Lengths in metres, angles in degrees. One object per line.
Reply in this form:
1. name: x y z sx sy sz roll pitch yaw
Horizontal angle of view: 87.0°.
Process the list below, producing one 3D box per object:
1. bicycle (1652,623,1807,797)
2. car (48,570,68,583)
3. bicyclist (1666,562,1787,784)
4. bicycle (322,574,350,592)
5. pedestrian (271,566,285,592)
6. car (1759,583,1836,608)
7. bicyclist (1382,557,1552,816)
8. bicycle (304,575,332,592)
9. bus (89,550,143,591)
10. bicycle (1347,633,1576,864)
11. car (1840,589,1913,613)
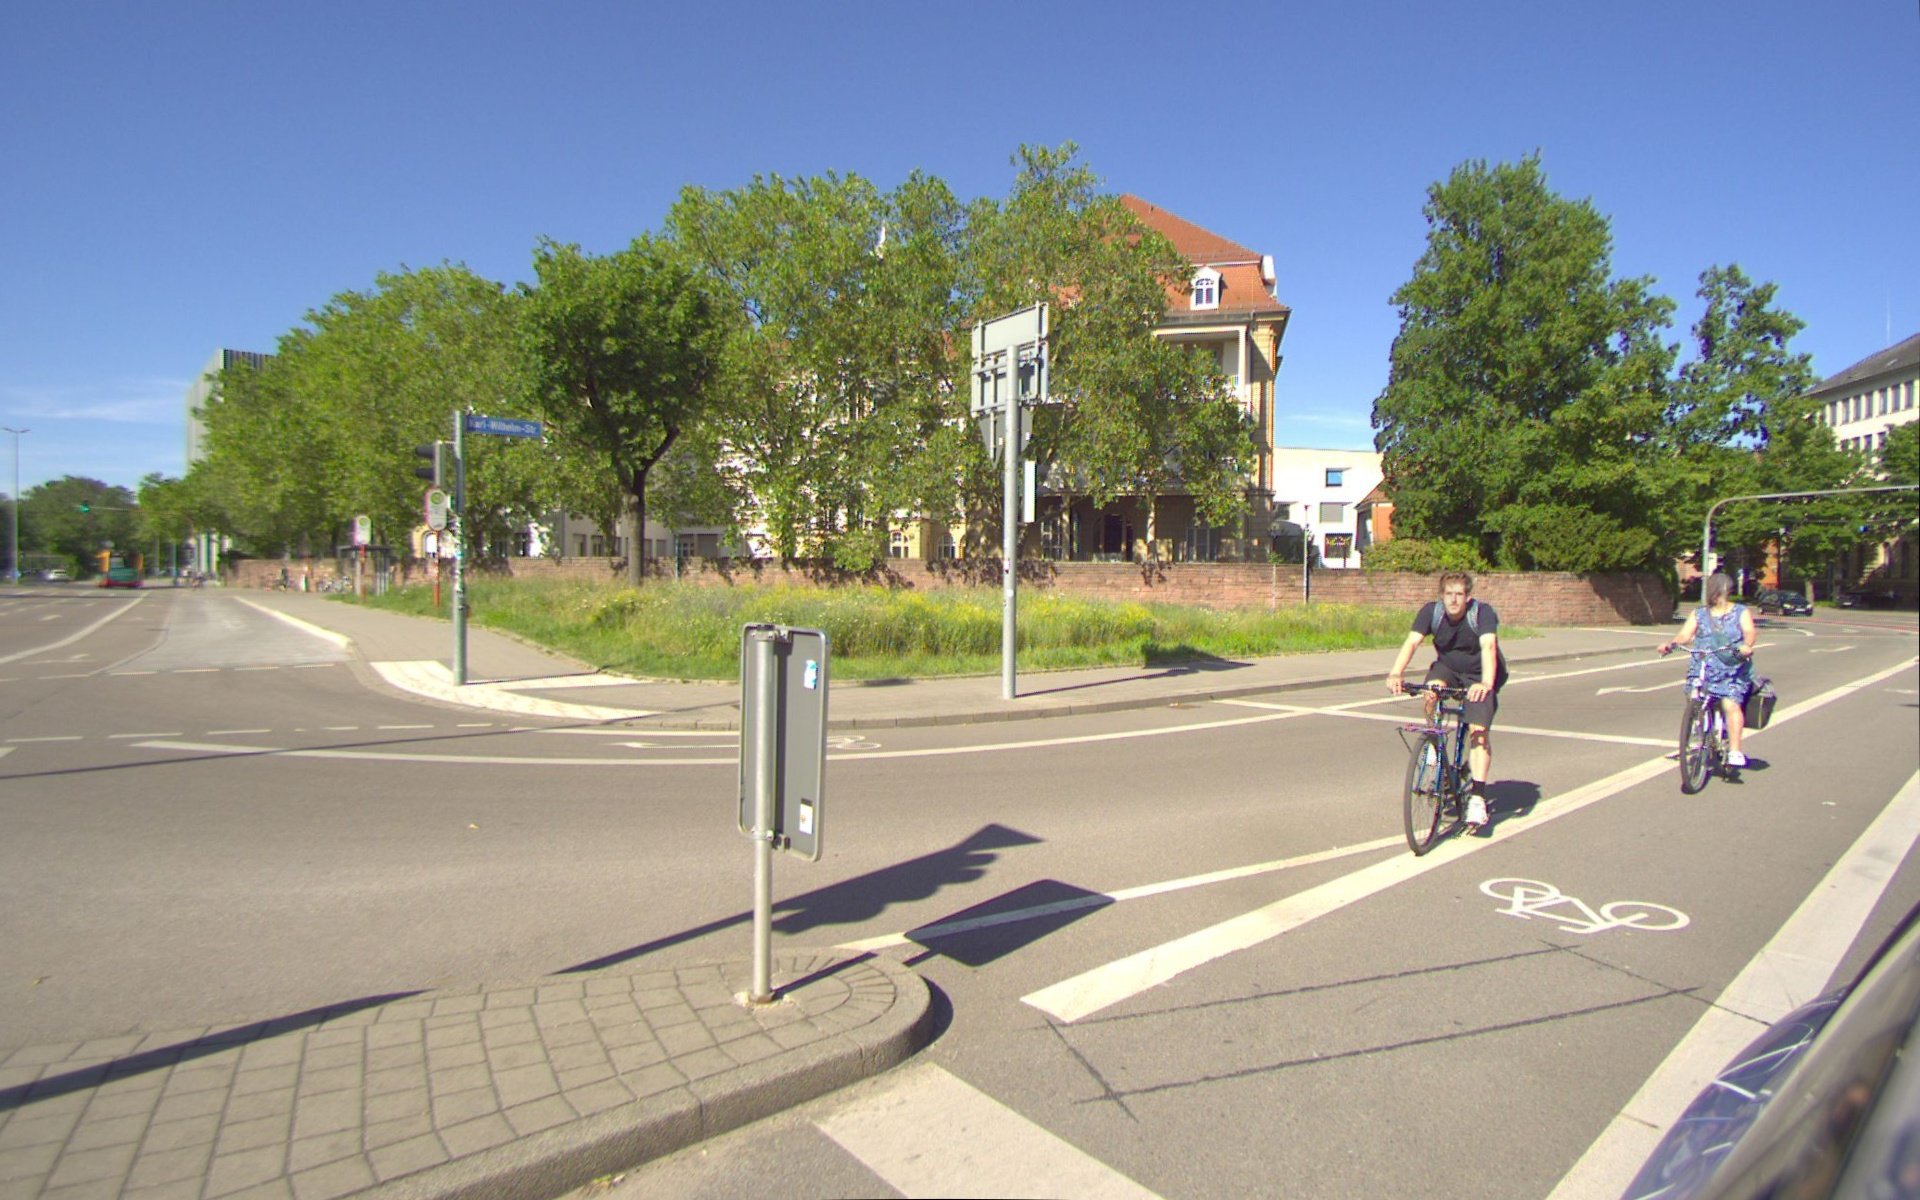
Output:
1. bicycle: 6.214 0.810 8.134 1.934 1.180 0.642 -1 0 -42
2. car: -116.616 -3.033 130.851 1.663 1.612 3.597 -2 3 -38
3. bicyclist: 6.166 0.541 8.138 0.763 1.683 0.642 -1 1 -41
4. bicycle: -39.807 -1.096 64.539 2.071 1.090 0.786 -1 -1 34
5. pedestrian: -43.948 -1.344 65.215 0.642 1.631 0.557 0 -1 -43
6. car: 53.267 -0.261 64.482 1.970 1.491 4.281 -1 0 13
7. bicyclist: 3.145 0.486 6.265 0.936 1.463 0.642 0 0 -42
8. bicycle: -41.756 -1.057 65.812 2.071 1.090 0.786 -1 -1 34
9. bus: -73.812 -2.493 88.445 6.234 3.315 2.941 -1 0 44
10. bicycle: 3.150 0.822 6.273 1.838 1.180 0.642 0 0 -42
11. car: 71.687 0.053 79.204 3.730 1.838 1.999 0 1 2
